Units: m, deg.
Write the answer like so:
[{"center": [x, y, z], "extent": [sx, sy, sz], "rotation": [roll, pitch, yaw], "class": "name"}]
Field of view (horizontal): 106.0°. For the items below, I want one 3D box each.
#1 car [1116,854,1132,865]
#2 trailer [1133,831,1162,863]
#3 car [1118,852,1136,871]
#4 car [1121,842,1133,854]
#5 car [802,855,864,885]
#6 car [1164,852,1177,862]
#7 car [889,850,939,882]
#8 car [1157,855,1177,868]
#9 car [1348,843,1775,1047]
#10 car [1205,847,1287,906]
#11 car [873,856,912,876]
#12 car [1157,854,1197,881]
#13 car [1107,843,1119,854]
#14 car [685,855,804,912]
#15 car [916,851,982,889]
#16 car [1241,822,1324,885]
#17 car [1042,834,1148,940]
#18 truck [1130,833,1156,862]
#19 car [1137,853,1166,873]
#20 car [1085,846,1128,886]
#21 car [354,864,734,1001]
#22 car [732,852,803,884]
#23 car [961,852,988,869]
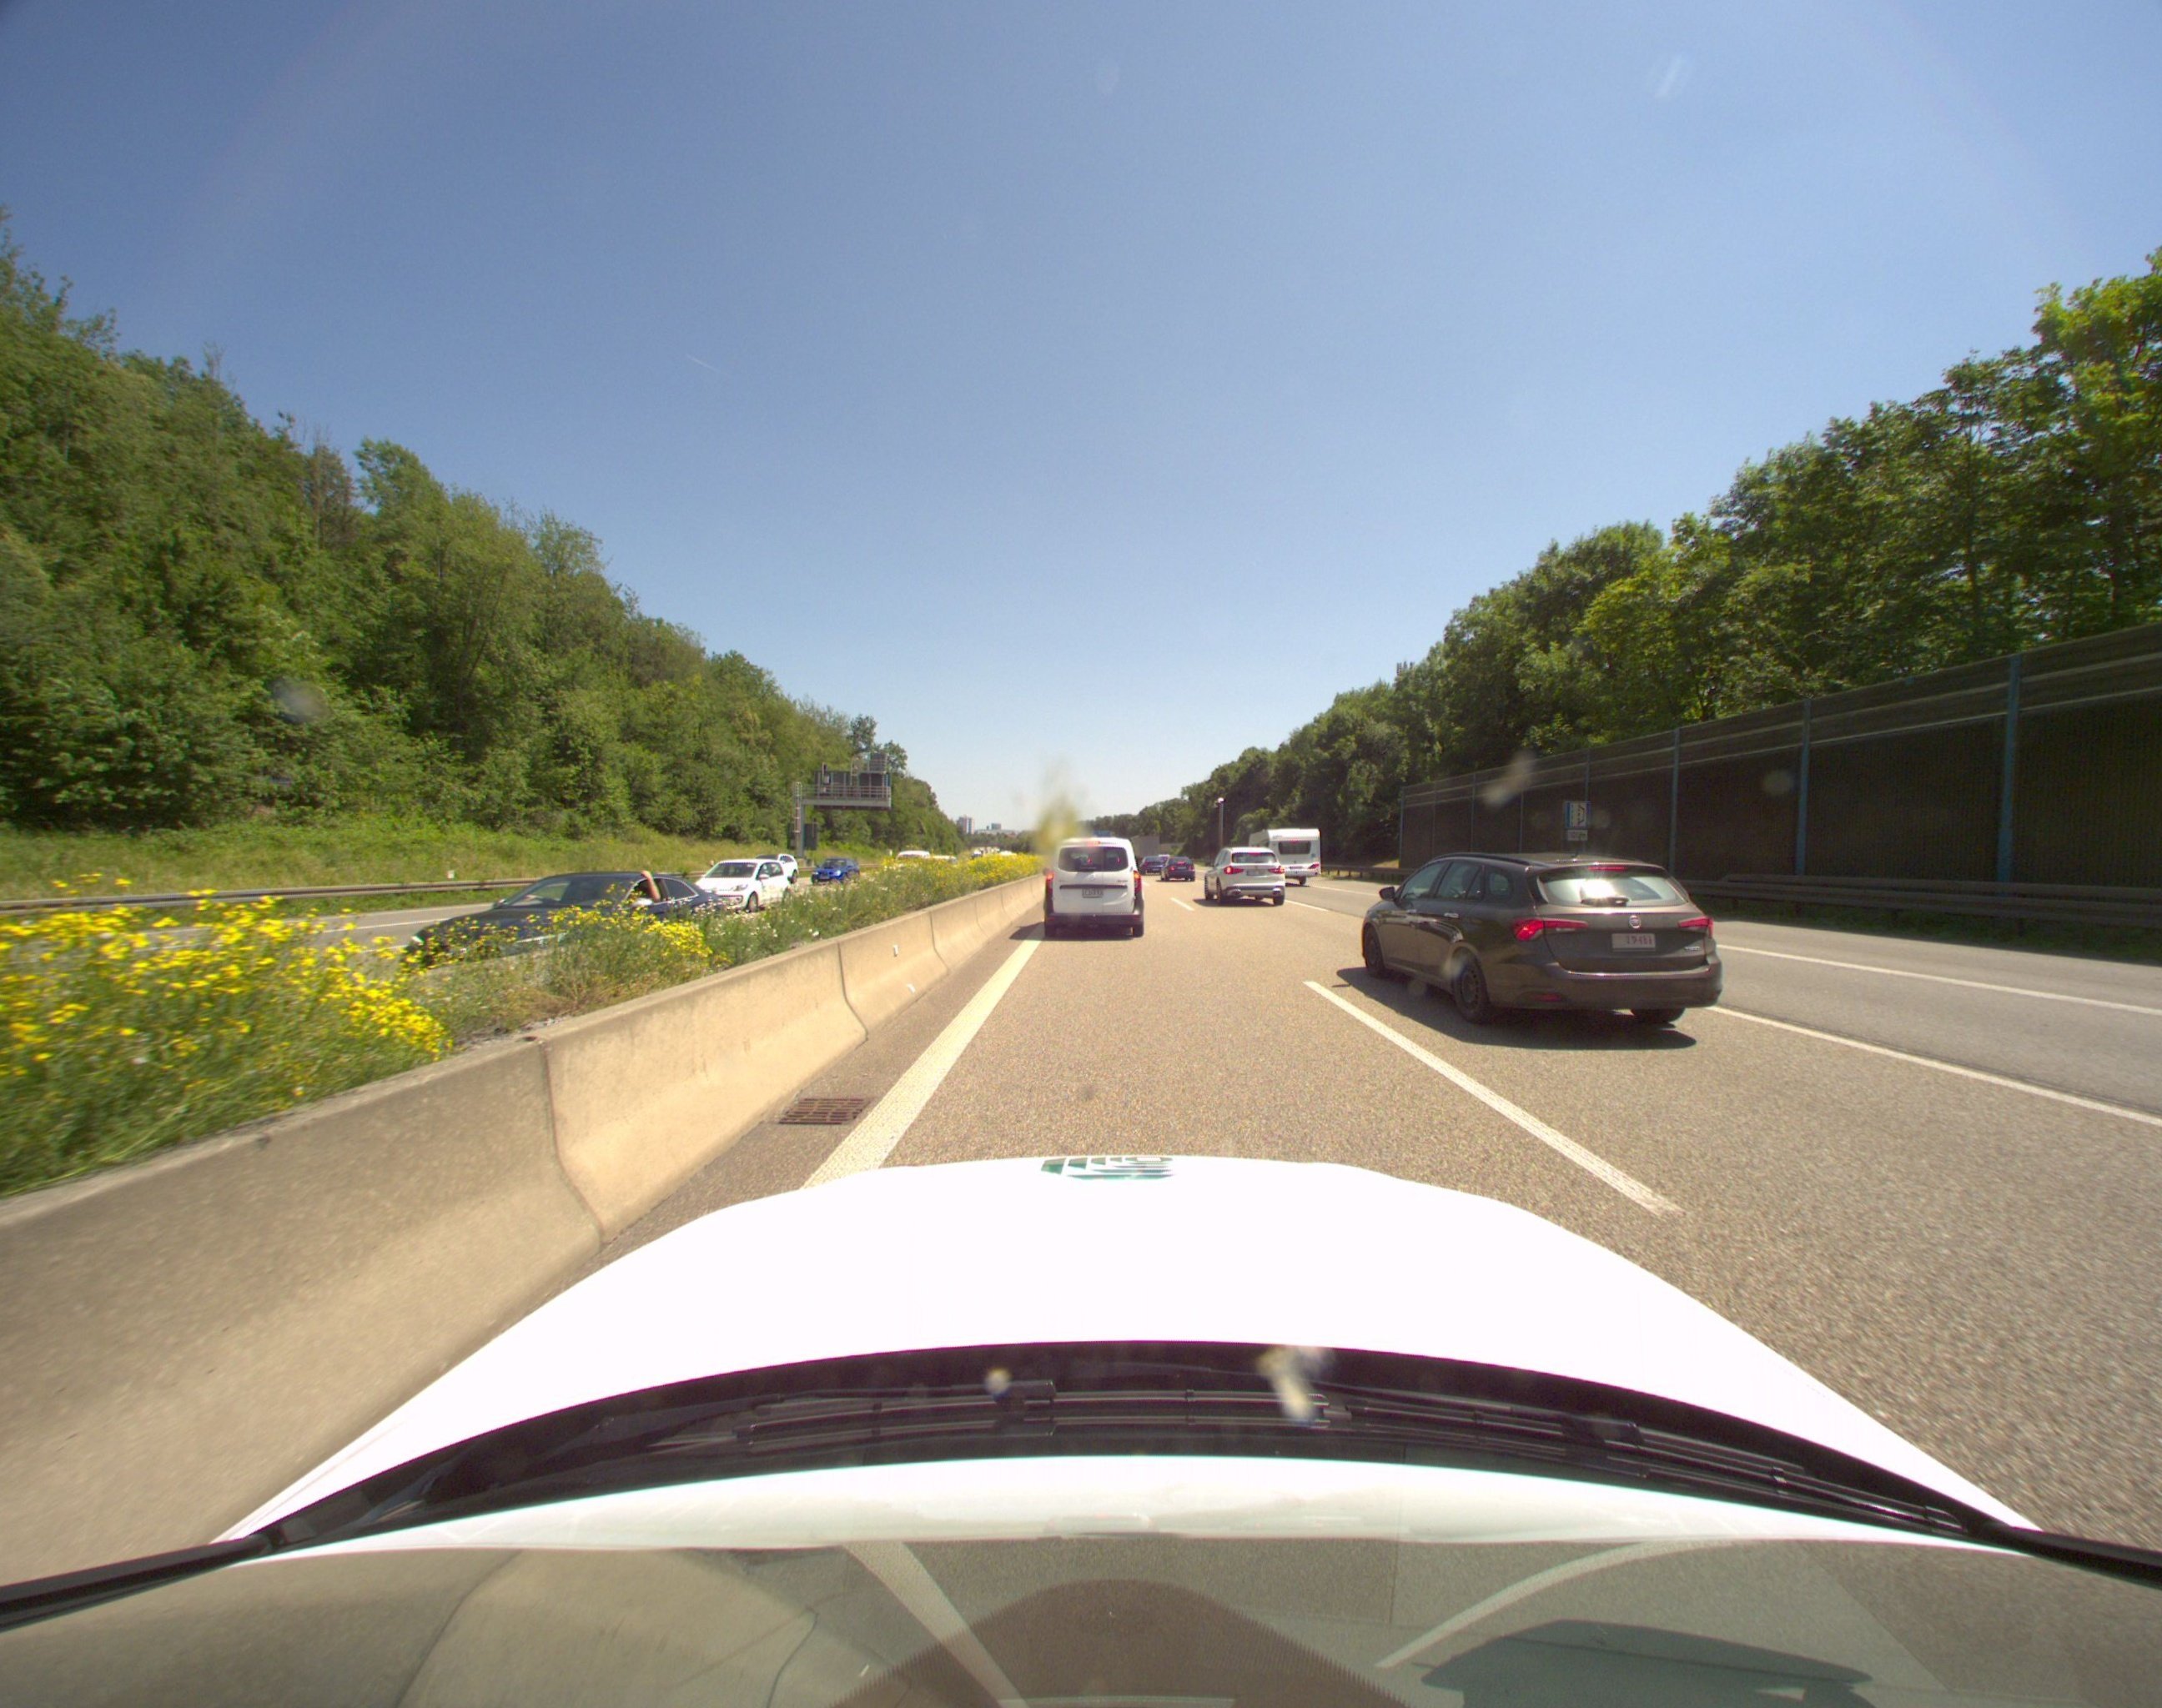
[{"center": [5.591, 0.705, 106.476], "extent": [1.818, 1.447, 4.000], "rotation": [-1, 0, 1], "class": "car"}, {"center": [8.765, -0.887, 108.803], "extent": [3.071, 3.985, 10.323], "rotation": [-1, 0, 1], "class": "trailer"}, {"center": [4.883, 0.782, 86.861], "extent": [1.818, 1.989, 4.000], "rotation": [-1, 0, 1], "class": "car"}, {"center": [7.981, -1.039, 142.003], "extent": [1.986, 2.013, 4.001], "rotation": [-1, 0, 1], "class": "car"}, {"center": [-13.235, 0.818, 43.674], "extent": [1.986, 1.491, 4.001], "rotation": [-1, 0, 1], "class": "car"}, {"center": [14.494, 0.436, 132.609], "extent": [1.782, 1.519, 4.001], "rotation": [0, 0, 1], "class": "car"}, {"center": [-9.582, 0.645, 47.129], "extent": [1.878, 1.755, 4.278], "rotation": [-1, 0, 1], "class": "car"}, {"center": [9.475, 0.815, 90.038], "extent": [1.818, 1.424, 4.000], "rotation": [-1, 0, 1], "class": "car"}, {"center": [4.280, 0.655, 8.236], "extent": [1.831, 1.513, 4.403], "rotation": [0, 0, 1], "class": "car"}, {"center": [4.859, 0.604, 24.456], "extent": [1.863, 1.608, 3.882], "rotation": [0, 0, 3], "class": "car"}, {"center": [-14.397, 0.911, 62.456], "extent": [1.986, 1.444, 4.008], "rotation": [-1, 0, 1], "class": "car"}, {"center": [5.379, 0.734, 45.861], "extent": [1.818, 1.424, 4.000], "rotation": [-1, 0, 1], "class": "car"}, {"center": [6.188, -1.107, 158.673], "extent": [1.989, 2.013, 3.995], "rotation": [-1, 0, -3], "class": "car"}, {"center": [-9.510, 0.779, 23.339], "extent": [1.669, 1.498, 3.884], "rotation": [0, 0, 2], "class": "car"}, {"center": [-5.581, 0.652, 35.033], "extent": [1.931, 1.503, 4.660], "rotation": [-1, 0, 1], "class": "car"}, {"center": [9.486, -0.009, 38.958], "extent": [2.470, 2.766, 6.220], "rotation": [-1, 0, 1], "class": "car"}, {"center": [0.310, 0.560, 16.003], "extent": [1.795, 1.808, 4.002], "rotation": [-1, 0, 2], "class": "car"}, {"center": [8.868, -0.880, 116.757], "extent": [3.071, 3.985, 9.647], "rotation": [-1, 0, 1], "class": "truck"}, {"center": [5.147, 0.632, 59.972], "extent": [1.818, 1.424, 4.000], "rotation": [-1, 0, 1], "class": "car"}, {"center": [1.226, 0.576, 40.317], "extent": [1.987, 1.860, 4.000], "rotation": [-1, 0, 1], "class": "car"}, {"center": [-6.456, 0.841, 10.532], "extent": [1.986, 1.340, 4.249], "rotation": [0, 0, 2], "class": "car"}, {"center": [-17.412, 0.734, 45.443], "extent": [1.986, 1.692, 4.769], "rotation": [-1, 0, 1], "class": "car"}, {"center": [-10.009, 0.574, 76.806], "extent": [1.986, 1.573, 4.066], "rotation": [-1, 0, 1], "class": "car"}]
